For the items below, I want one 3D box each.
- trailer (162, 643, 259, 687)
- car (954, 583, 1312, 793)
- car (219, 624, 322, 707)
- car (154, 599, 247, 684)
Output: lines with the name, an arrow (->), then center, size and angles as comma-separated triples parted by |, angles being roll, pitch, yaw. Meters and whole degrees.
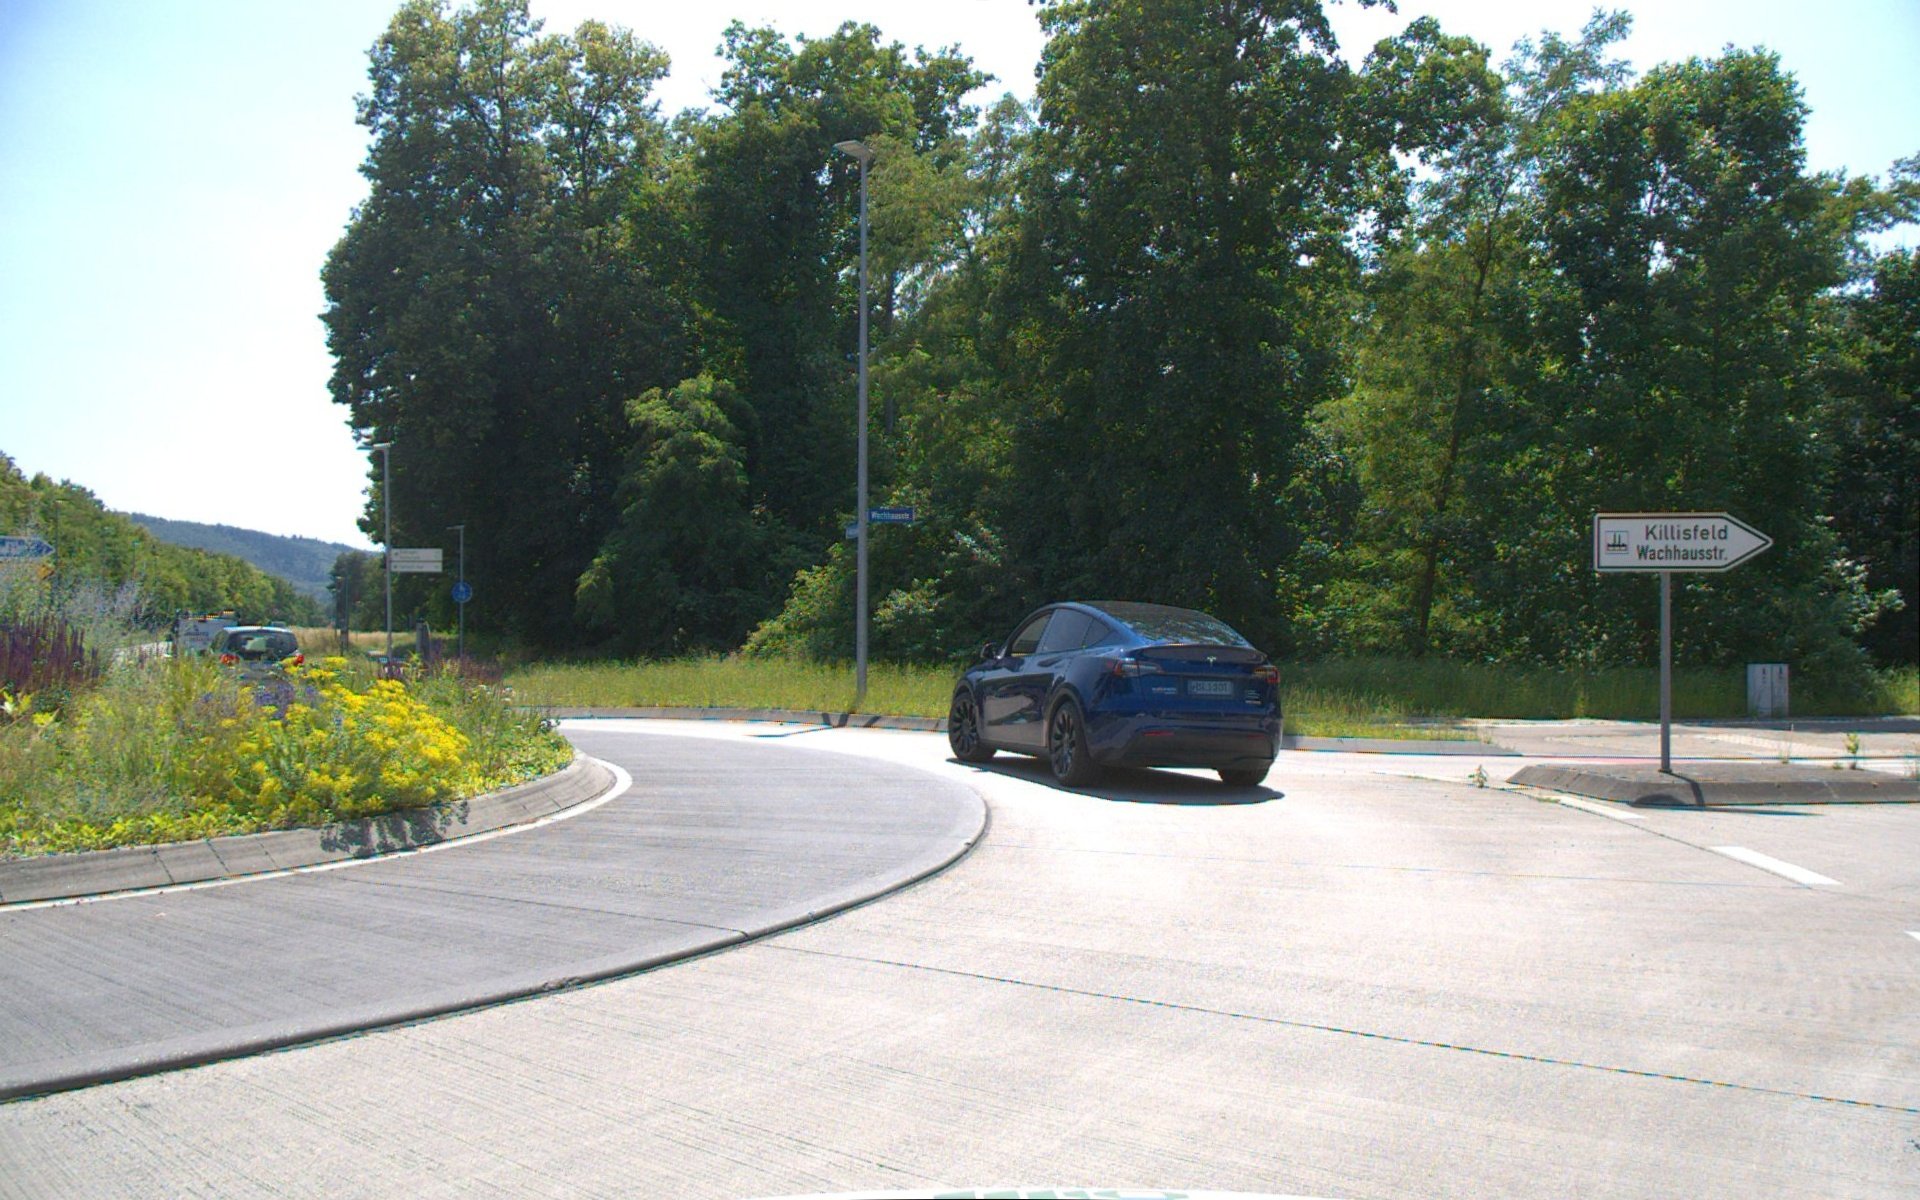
trailer -> -20.418, 1.748, 45.007 | 2.099, 1.117, 3.321 | 1, -2, -30
car -> 1.417, 0.739, 15.718 | 1.959, 1.668, 4.740 | 0, -1, -13
car -> -14.495, 1.348, 34.676 | 1.762, 1.635, 4.093 | 1, -2, -26
car -> -22.382, 1.223, 48.641 | 2.142, 2.357, 4.934 | 1, -2, -28
